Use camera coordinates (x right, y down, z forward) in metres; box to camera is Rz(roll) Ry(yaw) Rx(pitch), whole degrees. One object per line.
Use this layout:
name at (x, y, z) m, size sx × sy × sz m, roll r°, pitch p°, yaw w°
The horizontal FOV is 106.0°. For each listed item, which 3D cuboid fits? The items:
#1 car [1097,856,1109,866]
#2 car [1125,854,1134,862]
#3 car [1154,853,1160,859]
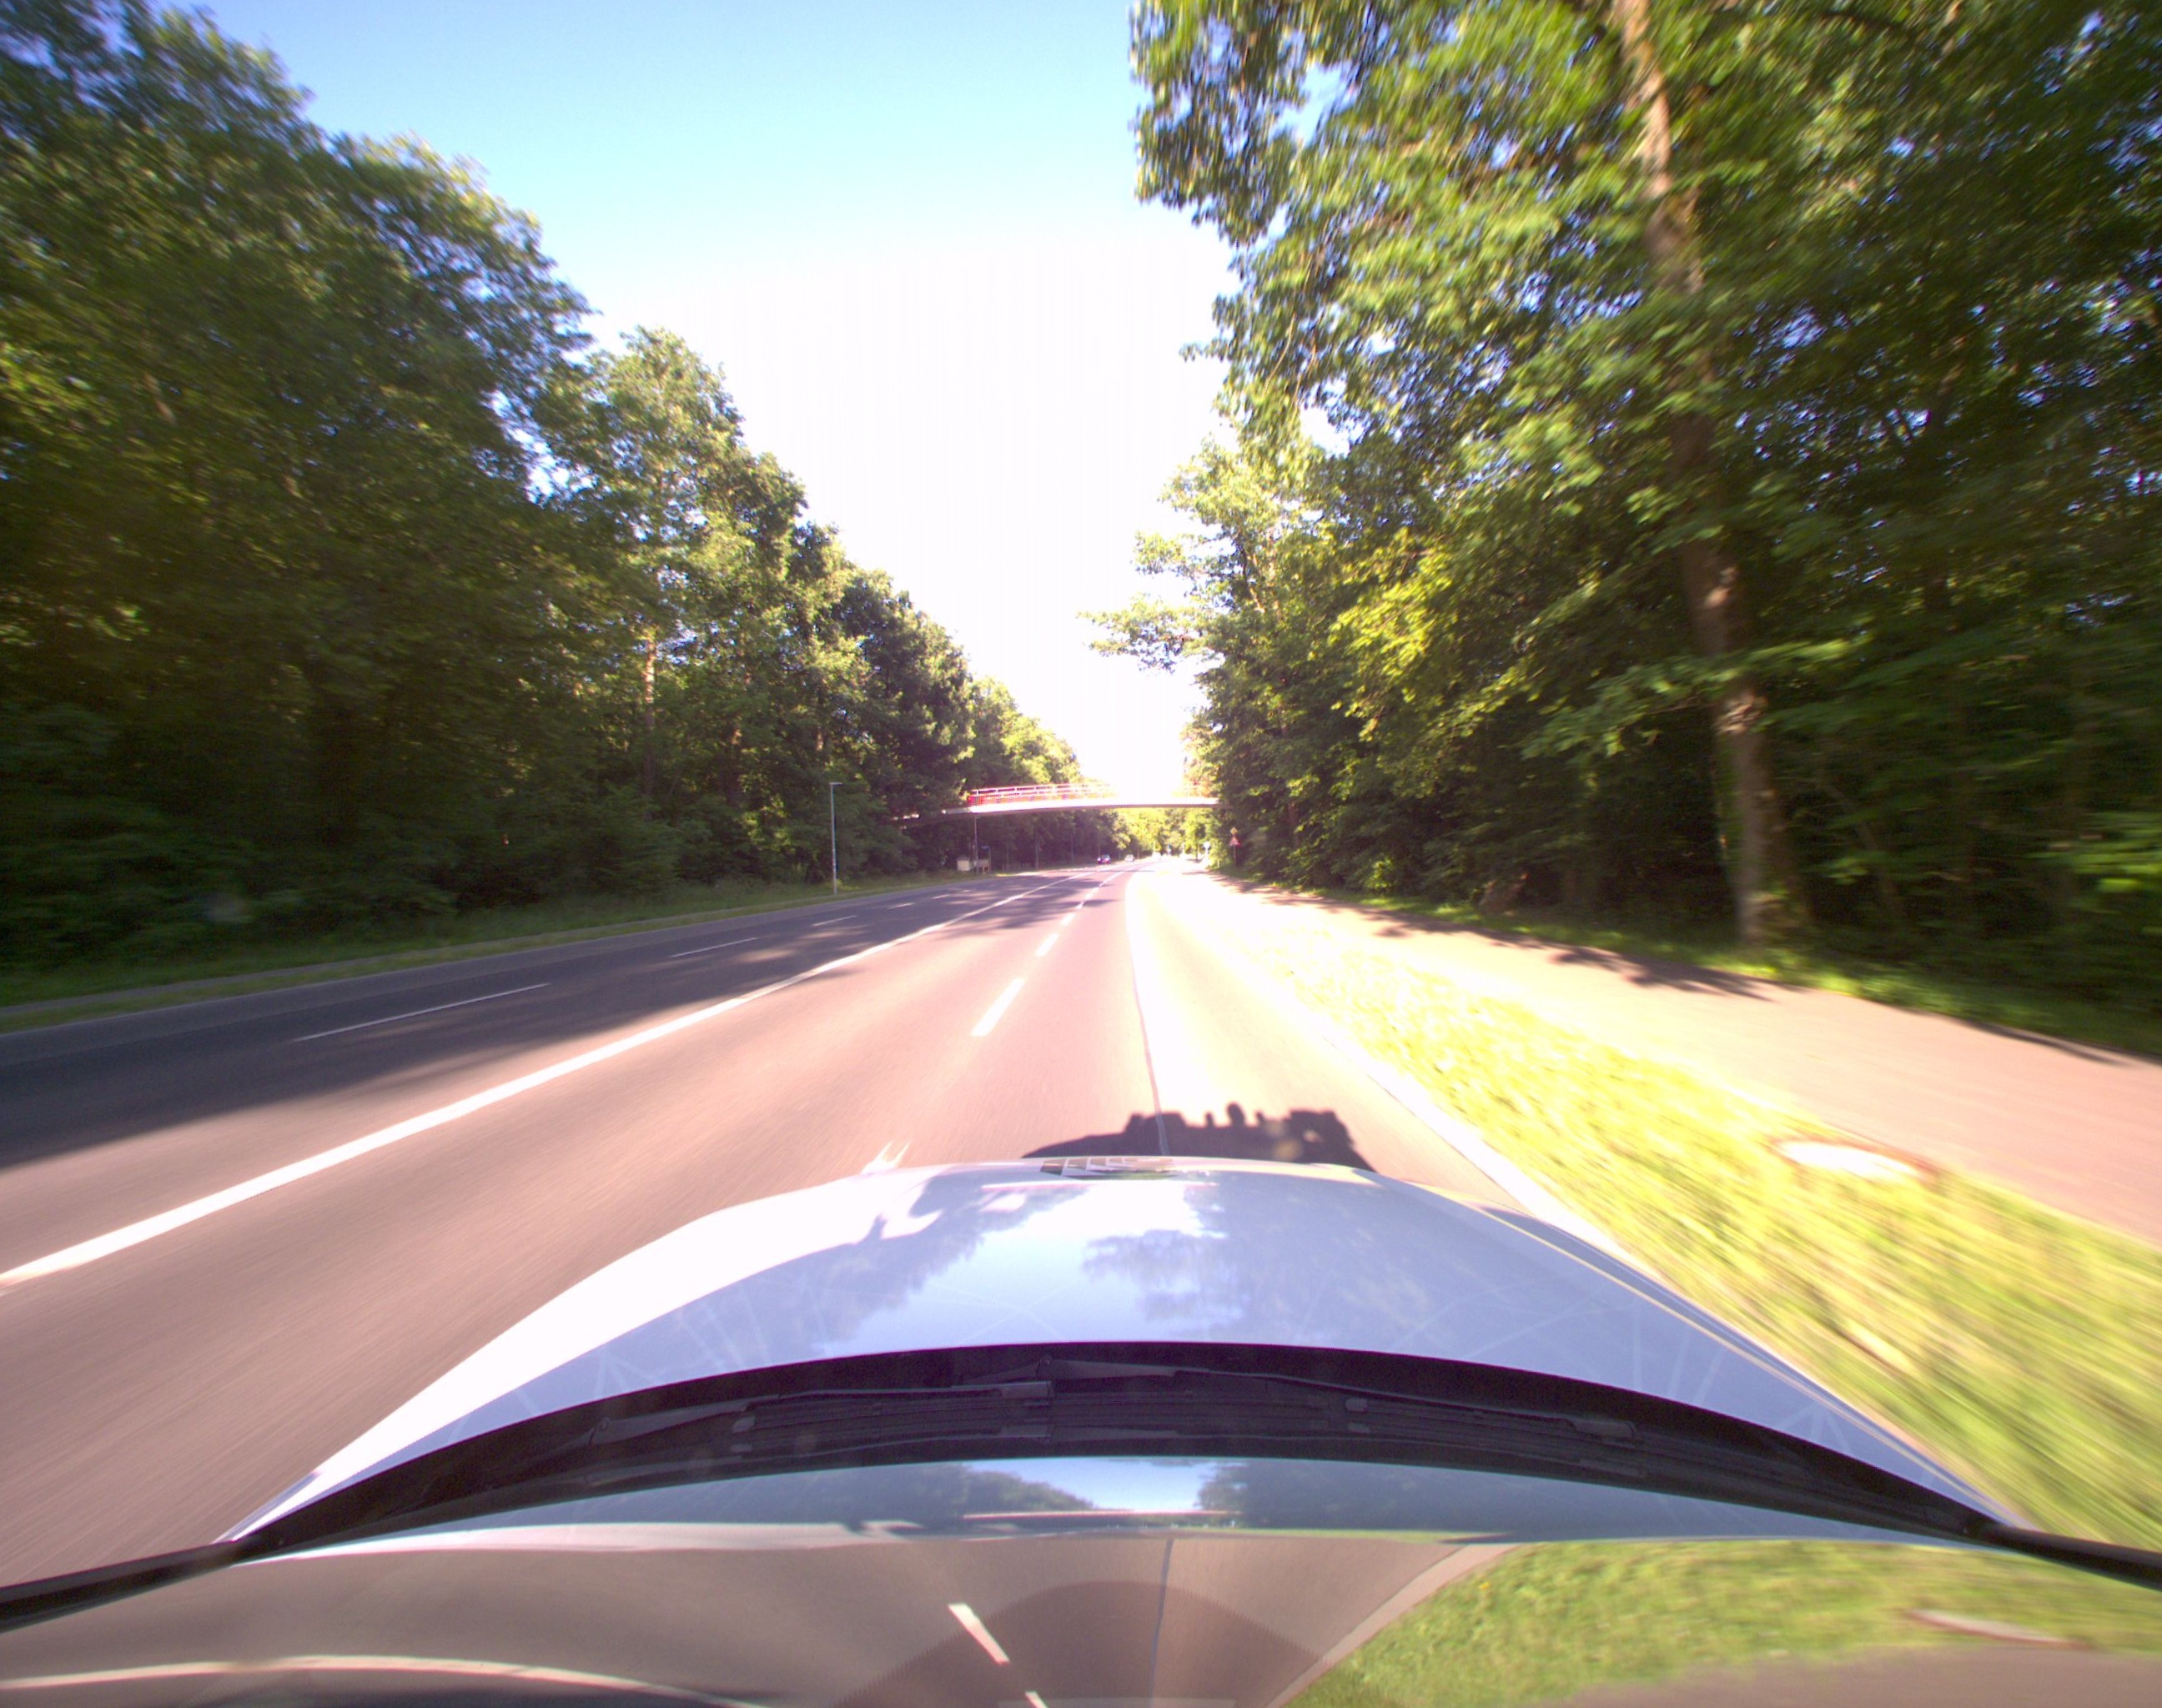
car at (3.742, 1.144, 138.608) m, size 1.753 × 1.582 × 4.175 m, roll 0°, pitch 0°, yaw 6°
car at (10.502, 0.838, 177.651) m, size 1.713 × 1.574 × 4.185 m, roll 0°, pitch 0°, yaw 6°
car at (21.294, 0.584, 228.955) m, size 1.697 × 1.709 × 4.006 m, roll -1°, pitch 0°, yaw 5°
